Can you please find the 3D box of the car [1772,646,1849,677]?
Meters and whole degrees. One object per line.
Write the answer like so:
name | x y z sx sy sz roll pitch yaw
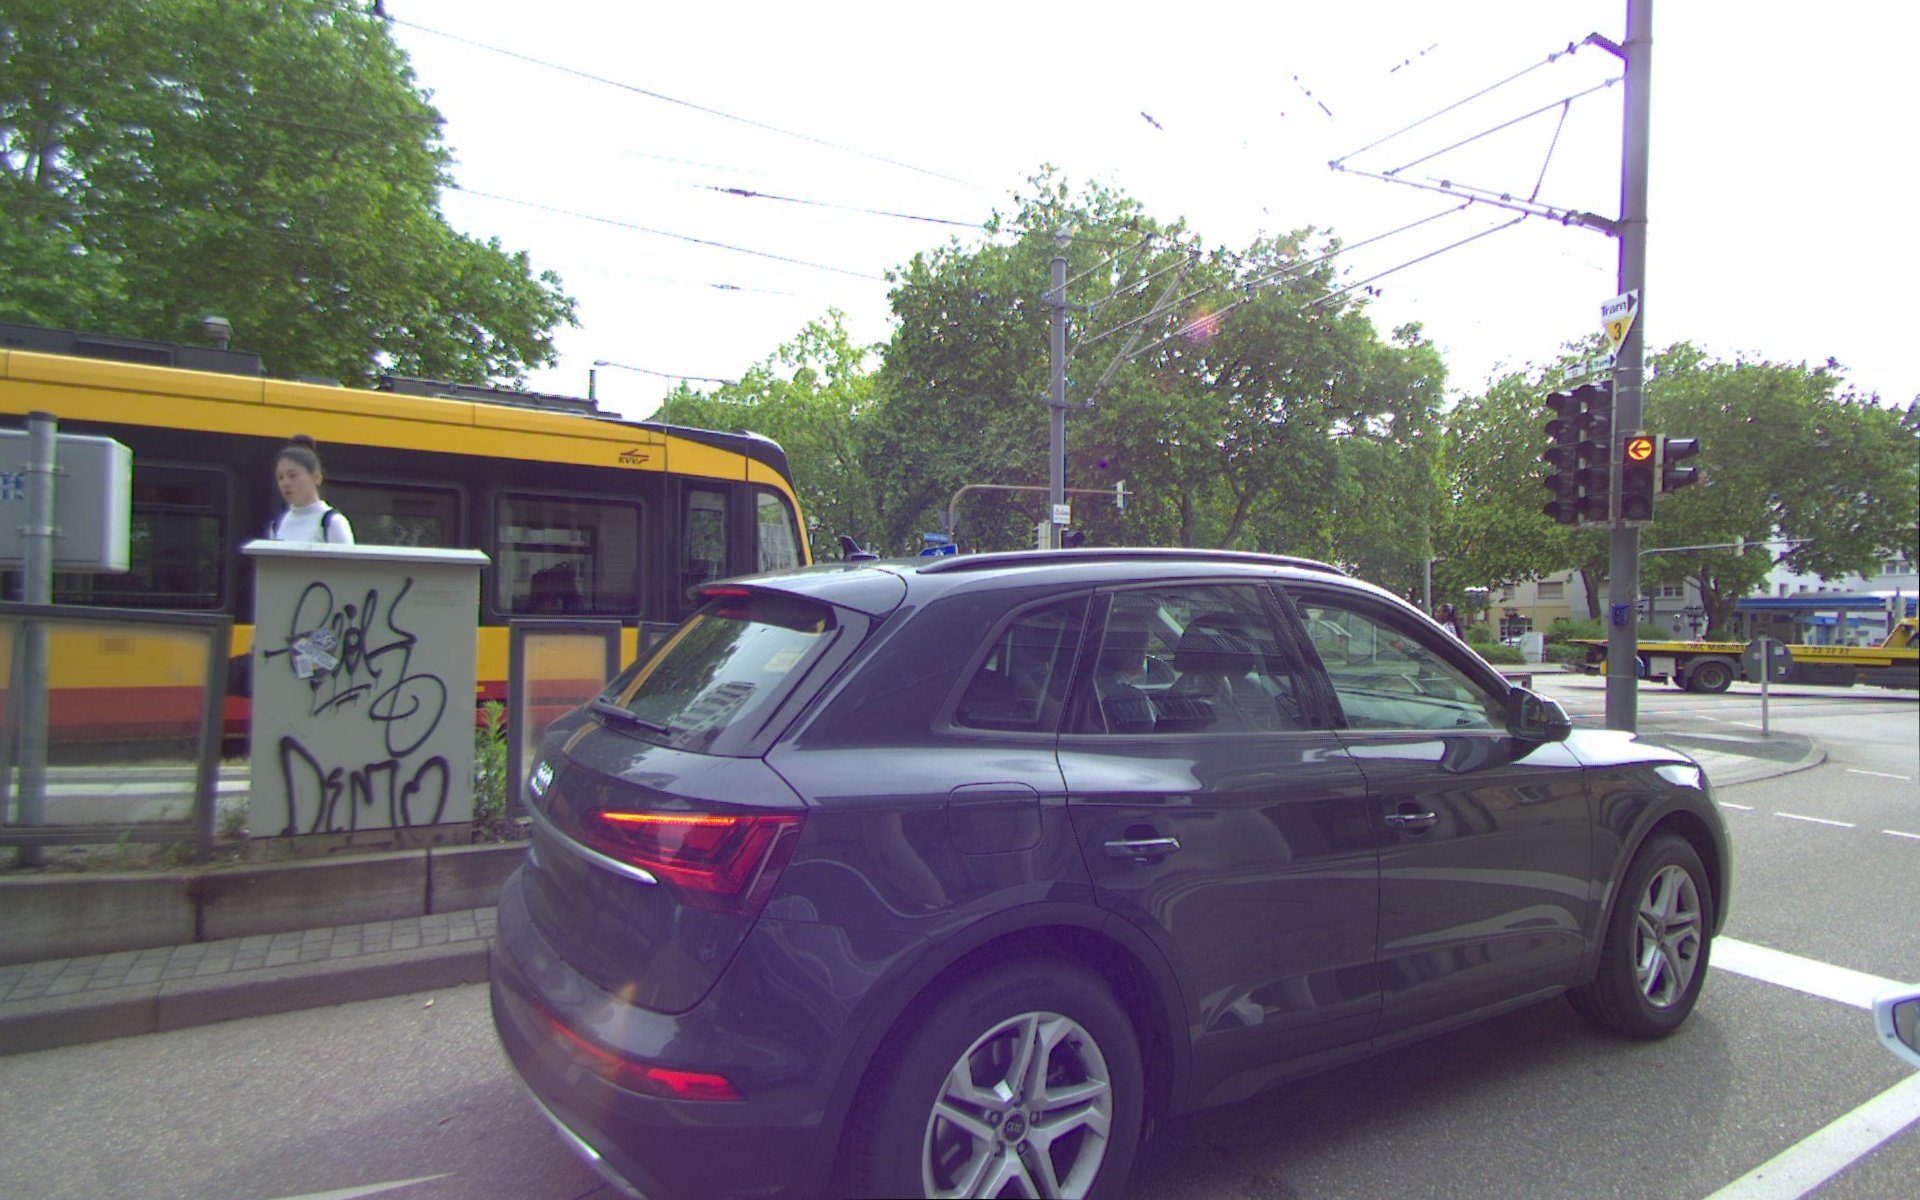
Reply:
car | 41.192 2.978 48.639 3.954 1.343 1.626 2 0 -31

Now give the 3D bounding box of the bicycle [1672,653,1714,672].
bicycle | 35.913 3.060 49.232 0.644 0.783 1.682 2 0 -9

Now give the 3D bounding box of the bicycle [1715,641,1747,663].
bicycle | 37.073 2.494 48.306 1.914 1.031 0.519 2 0 -30

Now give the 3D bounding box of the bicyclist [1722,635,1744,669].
bicyclist | 37.262 2.488 48.418 0.611 1.588 0.585 2 0 -30

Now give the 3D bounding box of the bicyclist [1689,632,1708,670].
bicyclist | 36.055 2.481 49.049 0.461 1.808 0.534 2 0 -10

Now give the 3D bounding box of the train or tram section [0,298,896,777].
train or tram section | -8.266 -0.493 8.827 15.665 3.636 3.045 2 0 -31

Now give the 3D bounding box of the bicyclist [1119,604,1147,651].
bicyclist | 6.934 1.092 40.253 0.951 1.843 0.531 2 0 32

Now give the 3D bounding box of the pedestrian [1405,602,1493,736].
pedestrian | 6.466 0.890 13.318 0.851 1.702 0.673 2 0 9

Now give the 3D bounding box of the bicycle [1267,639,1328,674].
bicycle | 12.234 2.047 36.426 1.914 1.151 0.732 2 0 40

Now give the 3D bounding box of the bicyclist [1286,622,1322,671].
bicyclist | 12.433 1.684 36.291 1.026 1.706 0.641 2 0 41

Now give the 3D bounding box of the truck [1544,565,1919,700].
truck | 20.244 0.726 24.583 9.986 2.980 2.635 1 0 25

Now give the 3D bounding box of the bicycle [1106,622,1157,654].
bicycle | 6.870 1.513 40.314 1.873 1.158 0.627 2 0 32

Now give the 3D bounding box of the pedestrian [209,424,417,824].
pedestrian | -3.001 0.108 4.727 0.722 1.683 0.750 2 0 -30

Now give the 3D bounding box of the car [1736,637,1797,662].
car | 54.741 3.370 68.163 3.954 1.550 1.984 2 0 -30

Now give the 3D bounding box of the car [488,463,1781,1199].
car | 0.818 0.659 3.534 4.308 1.622 1.870 2 -1 -31
